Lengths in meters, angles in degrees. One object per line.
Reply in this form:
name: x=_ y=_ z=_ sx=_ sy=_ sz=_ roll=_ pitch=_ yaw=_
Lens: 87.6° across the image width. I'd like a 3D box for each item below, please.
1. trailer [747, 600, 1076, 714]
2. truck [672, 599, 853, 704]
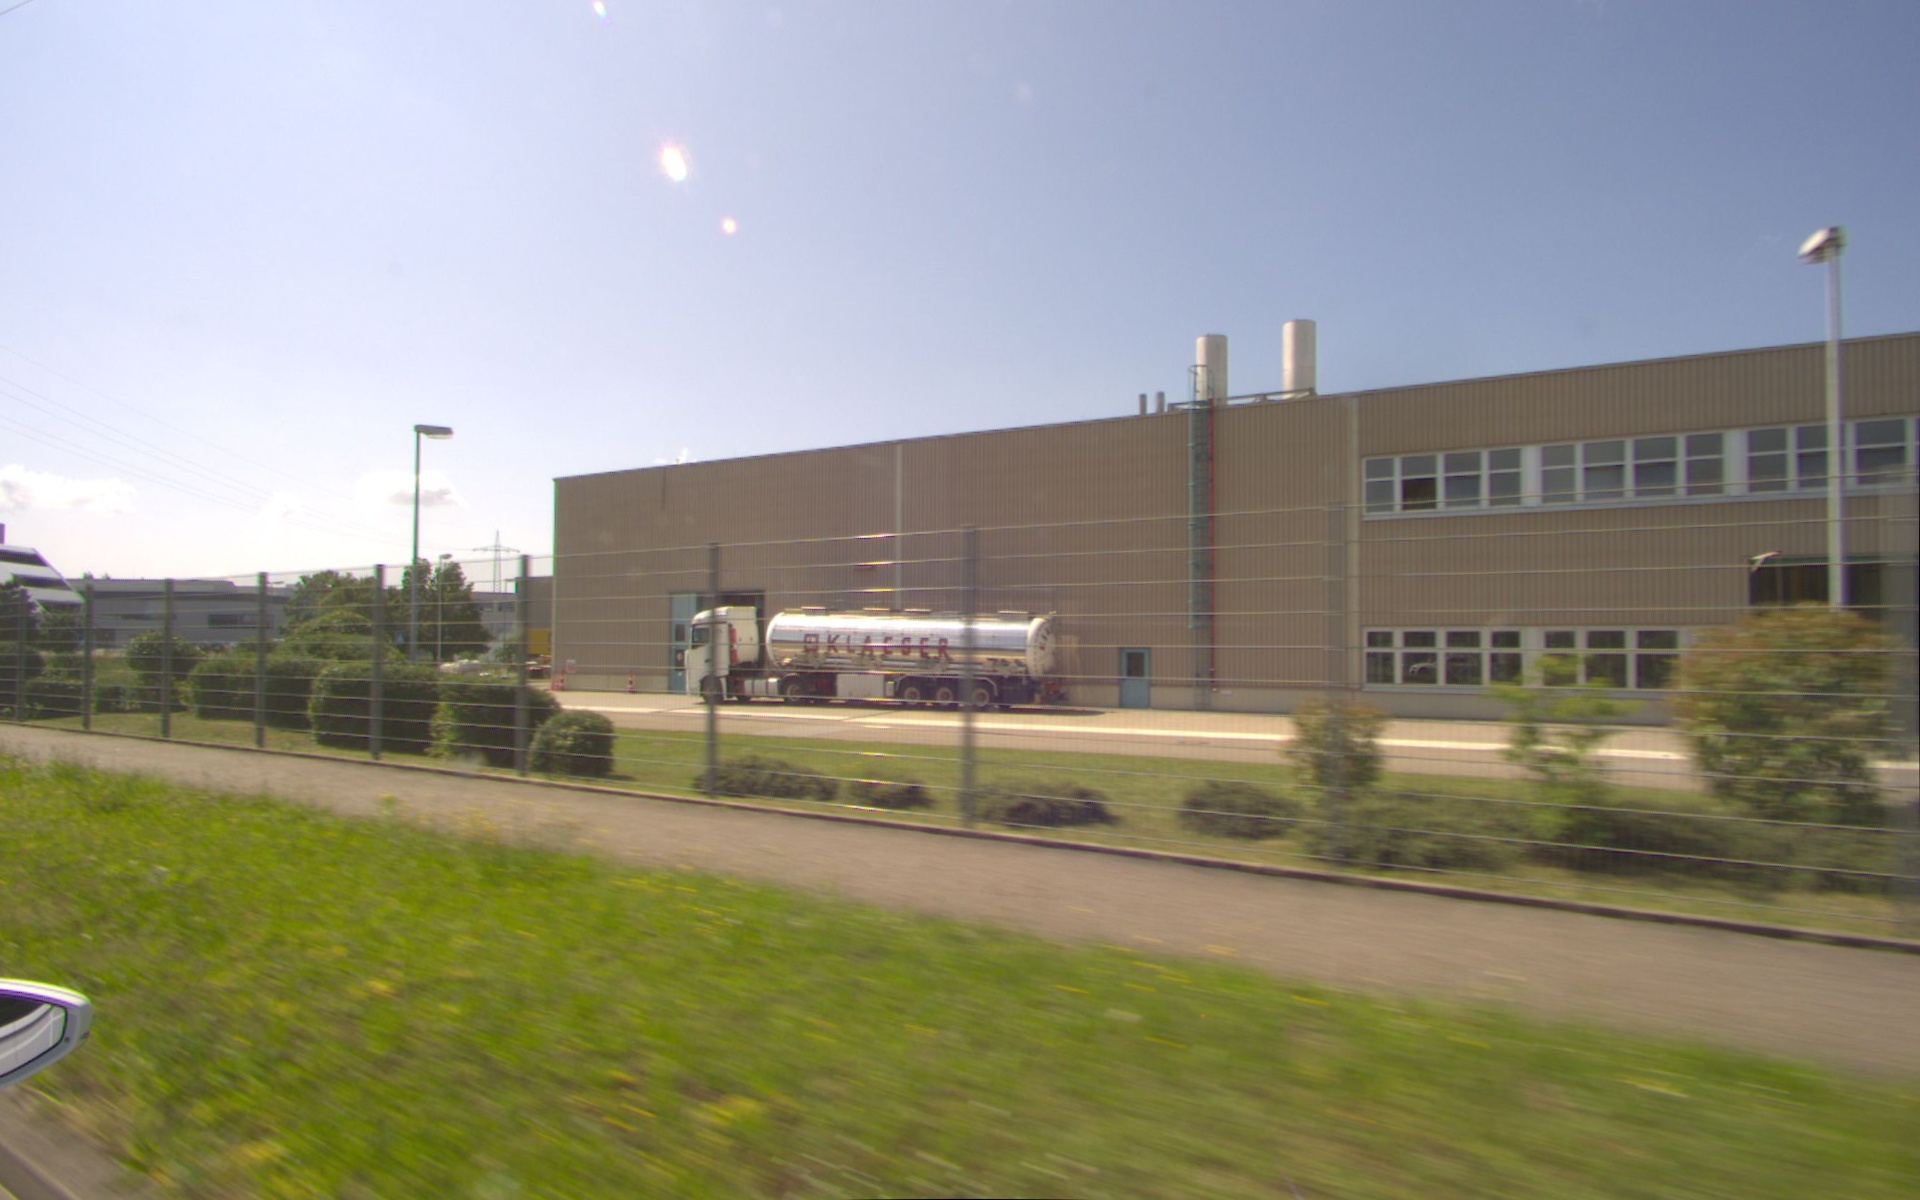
trailer: x=-1.965 y=1.999 z=37.375 sx=12.041 sy=3.783 sz=3.591 roll=-1 pitch=-2 yaw=26
truck: x=-7.922 y=2.010 z=40.354 sx=6.302 sy=3.917 sz=3.596 roll=-1 pitch=-1 yaw=24
